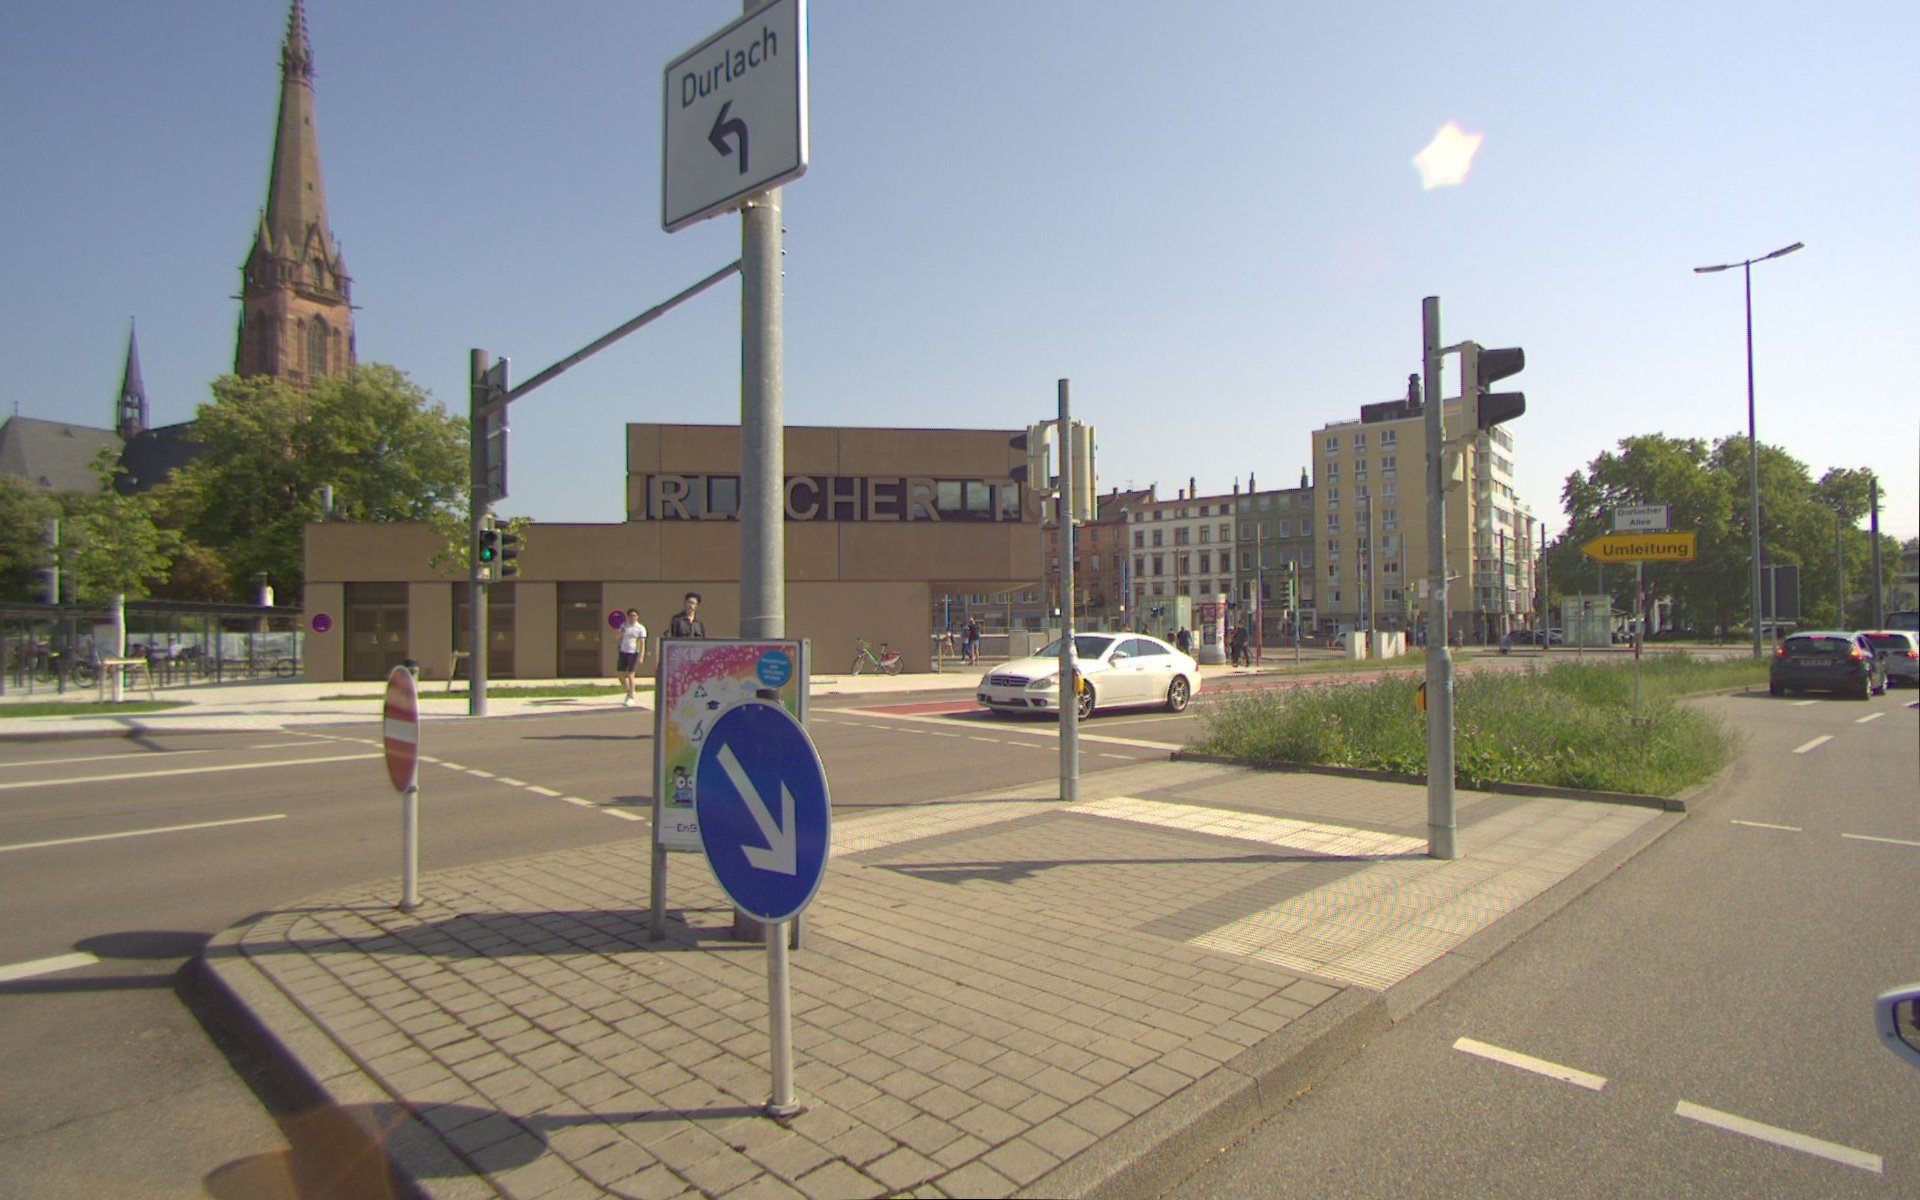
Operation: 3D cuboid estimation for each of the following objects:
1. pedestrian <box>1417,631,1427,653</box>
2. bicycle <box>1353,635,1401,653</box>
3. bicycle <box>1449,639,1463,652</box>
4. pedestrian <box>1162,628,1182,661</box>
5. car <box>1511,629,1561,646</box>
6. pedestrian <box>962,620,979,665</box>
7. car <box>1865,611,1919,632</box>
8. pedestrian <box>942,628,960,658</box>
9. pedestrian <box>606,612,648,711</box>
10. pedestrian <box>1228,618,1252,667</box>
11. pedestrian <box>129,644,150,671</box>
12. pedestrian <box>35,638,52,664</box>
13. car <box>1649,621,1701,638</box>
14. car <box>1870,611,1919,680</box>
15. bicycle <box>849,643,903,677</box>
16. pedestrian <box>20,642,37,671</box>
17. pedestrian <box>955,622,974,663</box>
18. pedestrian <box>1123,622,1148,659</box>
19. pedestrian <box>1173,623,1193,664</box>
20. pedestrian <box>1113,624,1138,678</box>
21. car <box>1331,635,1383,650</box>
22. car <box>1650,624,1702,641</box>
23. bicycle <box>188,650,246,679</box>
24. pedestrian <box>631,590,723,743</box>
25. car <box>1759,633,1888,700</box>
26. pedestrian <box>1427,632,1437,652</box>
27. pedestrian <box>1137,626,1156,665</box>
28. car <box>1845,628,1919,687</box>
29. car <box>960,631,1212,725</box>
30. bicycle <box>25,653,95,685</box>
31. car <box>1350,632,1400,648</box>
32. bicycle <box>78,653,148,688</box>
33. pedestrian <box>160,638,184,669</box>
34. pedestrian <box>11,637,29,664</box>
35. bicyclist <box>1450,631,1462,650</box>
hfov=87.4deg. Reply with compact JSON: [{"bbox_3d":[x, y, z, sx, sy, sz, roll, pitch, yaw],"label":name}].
[{"bbox_3d":[35.812,3.258,77.836,0.542,1.707,0.451,-2,1,-39],"label":"pedestrian"},{"bbox_3d":[39.074,4.093,94.181,3.937,1.572,1.191,-2,0,38],"label":"bicycle"},{"bbox_3d":[37.900,3.477,76.713,0.718,0.997,1.726,-1,-2,35],"label":"bicycle"},{"bbox_3d":[12.104,2.546,57.378,0.823,1.843,0.775,0,-3,39],"label":"pedestrian"},{"bbox_3d":[55.946,3.636,97.660,3.941,1.578,1.860,-2,0,40],"label":"car"},{"bbox_3d":[0.419,1.737,41.163,0.550,1.843,0.390,-2,1,-25],"label":"pedestrian"},{"bbox_3d":[95.897,2.221,103.247,1.983,2.040,3.955,-2,0,-39],"label":"car"},{"bbox_3d":[-0.511,2.358,54.760,0.786,1.612,0.689,0,-2,-21],"label":"pedestrian"},{"bbox_3d":[-6.408,1.175,19.338,0.566,1.857,0.687,1,-2,-40],"label":"pedestrian"},{"bbox_3d":[10.823,1.637,38.800,0.831,1.802,0.877,-2,0,16],"label":"pedestrian"},{"bbox_3d":[-38.434,2.687,47.041,0.563,1.213,0.467,-1,-2,-5],"label":"pedestrian"},{"bbox_3d":[-43.796,2.429,47.982,0.376,1.240,0.439,-2,0,-5],"label":"pedestrian"},{"bbox_3d":[69.013,2.885,96.981,3.945,1.639,1.803,-2,-3,44],"label":"car"},{"bbox_3d":[30.094,1.378,31.090,4.640,2.034,2.009,1,-2,-37],"label":"car"},{"bbox_3d":[-2.542,1.808,30.262,1.583,0.968,0.660,0,0,-8],"label":"bicycle"},{"bbox_3d":[-43.275,2.632,46.664,0.407,1.335,0.393,-2,0,-1],"label":"pedestrian"},{"bbox_3d":[0.181,1.783,42.291,0.597,1.718,0.531,-2,0,-17],"label":"pedestrian"},{"bbox_3d":[9.953,2.285,56.878,0.947,2.040,1.017,-1,1,40],"label":"pedestrian"},{"bbox_3d":[10.546,2.046,47.525,0.864,1.843,0.896,-2,0,13],"label":"pedestrian"},{"bbox_3d":[5.534,1.699,33.629,0.665,1.783,0.879,-1,-2,19],"label":"pedestrian"},{"bbox_3d":[33.337,3.553,84.337,3.788,1.195,1.567,-2,-5,43],"label":"car"},{"bbox_3d":[70.571,3.221,98.975,3.945,1.639,1.803,-2,-3,44],"label":"car"},{"bbox_3d":[-26.714,2.315,36.118,1.713,1.022,0.401,0,-2,-6],"label":"bicycle"},{"bbox_3d":[-3.640,0.820,12.908,0.724,1.864,1.069,2,-1,-42],"label":"pedestrian"},{"bbox_3d":[19.680,1.443,22.833,3.933,1.386,1.686,2,-2,-41],"label":"car"},{"bbox_3d":[36.870,3.293,78.472,0.489,1.507,0.440,-2,0,1],"label":"pedestrian"},{"bbox_3d":[7.683,1.869,41.406,0.503,1.601,0.494,-2,1,-36],"label":"pedestrian"},{"bbox_3d":[24.764,1.468,26.404,3.612,1.434,1.479,1,-1,-36],"label":"car"},{"bbox_3d":[2.328,1.275,17.493,1.823,1.379,4.789,0,-2,45],"label":"car"},{"bbox_3d":[-30.571,2.344,34.126,1.840,1.022,0.461,0,-2,-6],"label":"bicycle"},{"bbox_3d":[35.668,3.432,86.368,3.693,1.411,1.579,-2,-2,40],"label":"car"},{"bbox_3d":[-26.138,2.178,31.023,1.713,1.022,0.401,0,-2,-6],"label":"bicycle"},{"bbox_3d":[-36.878,2.510,47.005,0.632,1.413,0.661,0,-2,-8],"label":"pedestrian"},{"bbox_3d":[-44.316,2.369,47.367,0.376,1.240,0.439,-2,0,-5],"label":"pedestrian"},{"bbox_3d":[37.925,3.114,76.753,0.716,1.453,0.688,-1,-2,35],"label":"bicyclist"}]
